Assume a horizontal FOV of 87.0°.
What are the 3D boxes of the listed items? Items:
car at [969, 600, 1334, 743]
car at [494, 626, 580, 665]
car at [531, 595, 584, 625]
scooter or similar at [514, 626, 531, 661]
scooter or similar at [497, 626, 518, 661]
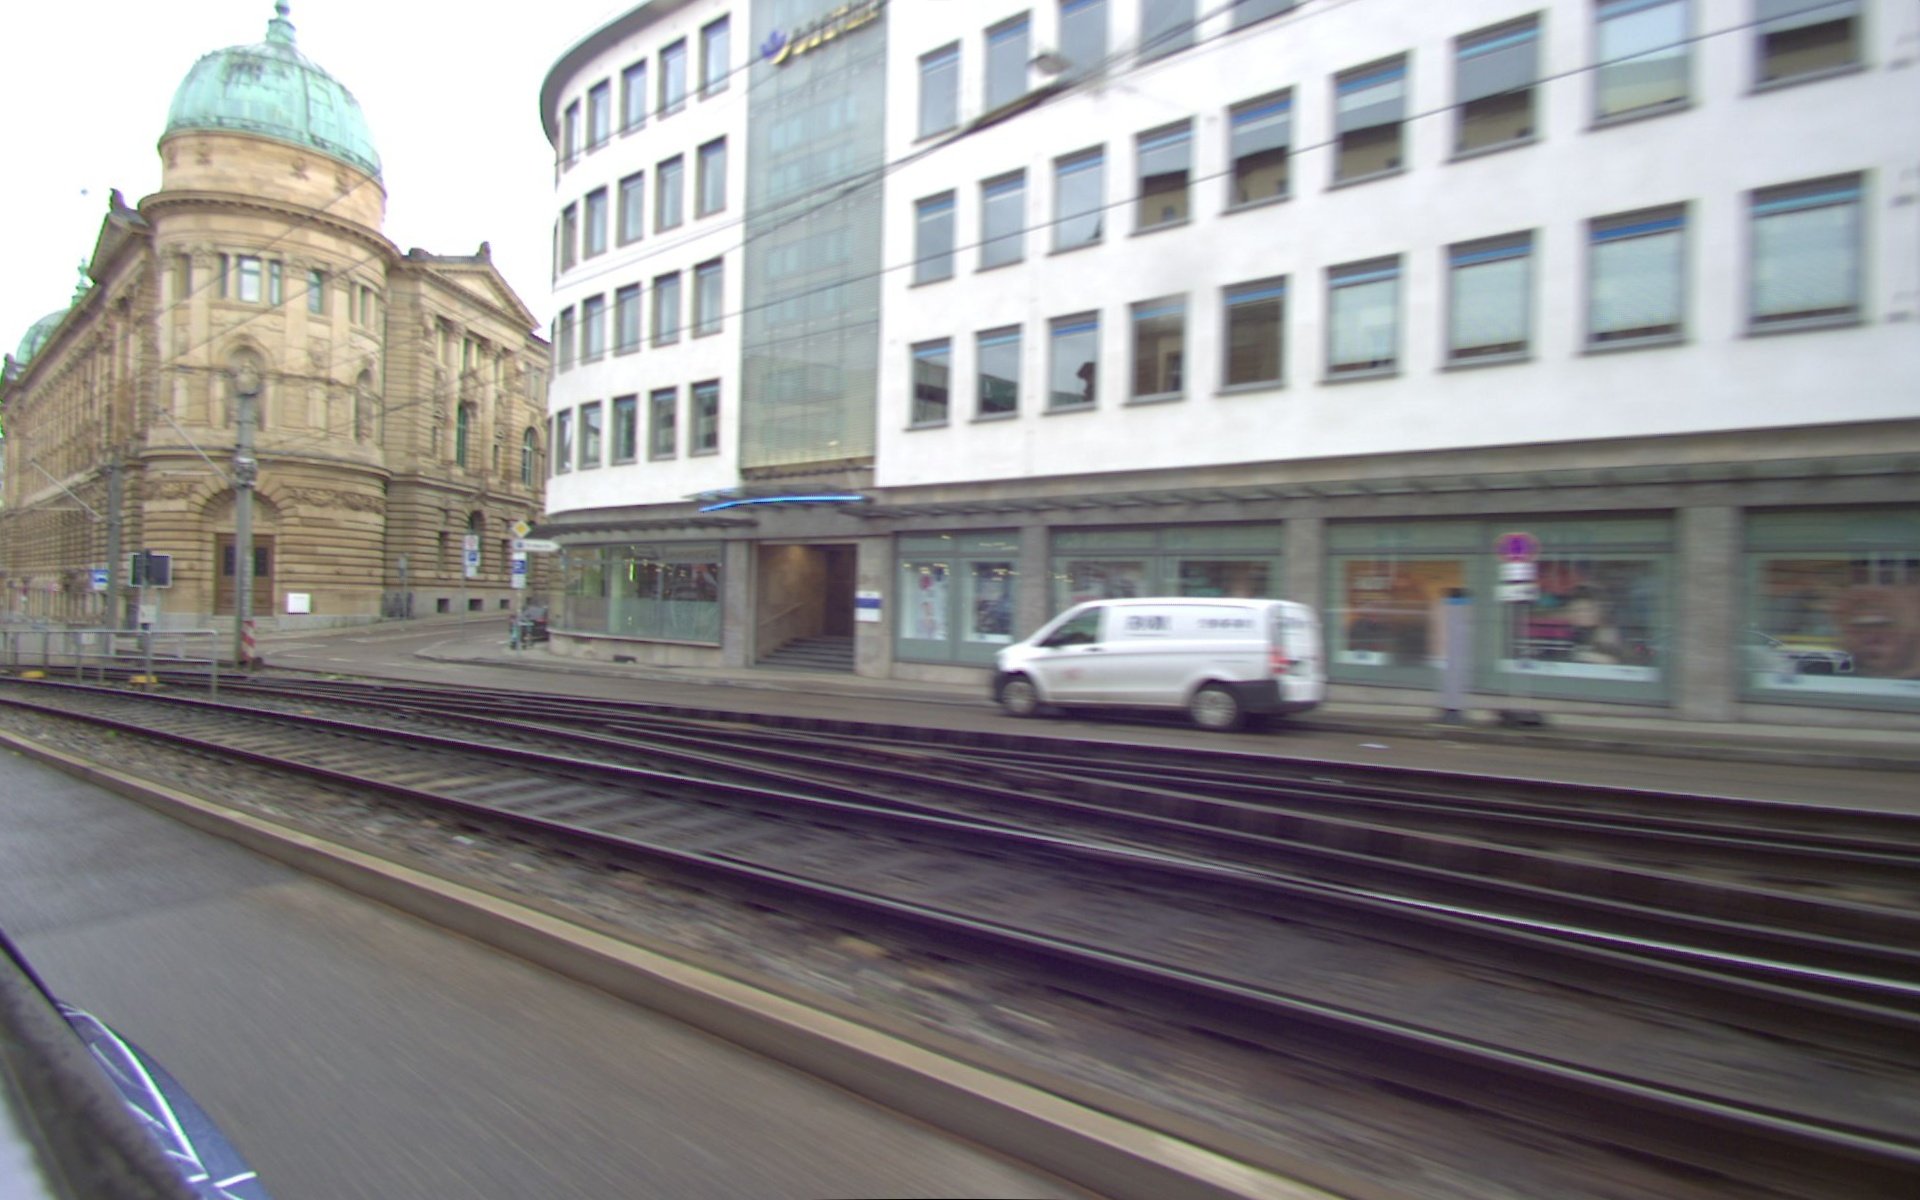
[{"bbox_3d":[2.815,1.008,15.498,5.123,1.856,1.975,0,-5,37],"label":"car"},{"bbox_3d":[-17.174,1.824,41.311,1.759,1.408,4.328,0,0,-1],"label":"car"},{"bbox_3d":[-23.555,0.571,59.328,1.969,1.652,4.006,0,0,-7],"label":"car"},{"bbox_3d":[-15.754,1.549,36.439,0.404,1.209,1.565,0,0,-29],"label":"scooter or similar"},{"bbox_3d":[-16.250,1.549,36.318,0.404,1.209,1.564,0,0,-35],"label":"scooter or similar"}]
